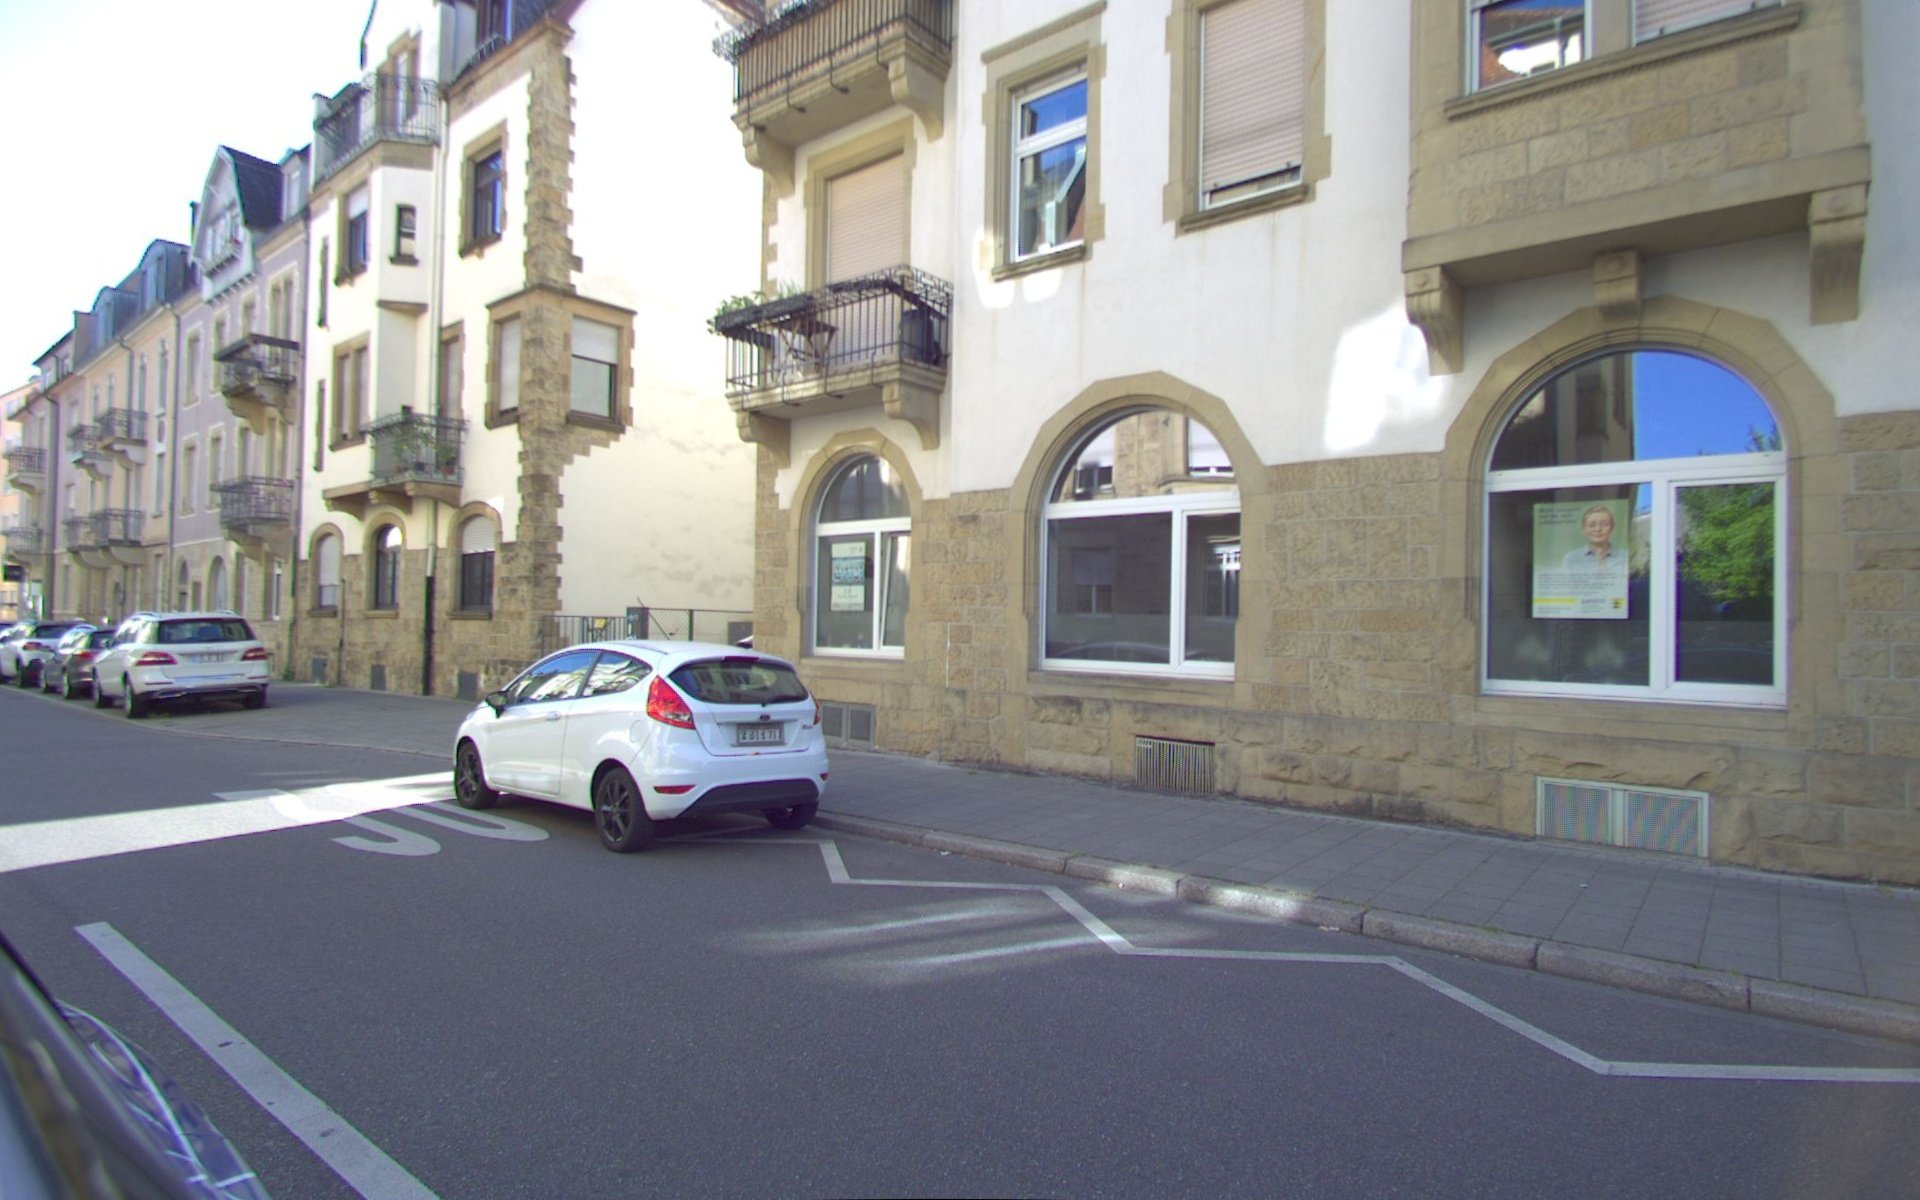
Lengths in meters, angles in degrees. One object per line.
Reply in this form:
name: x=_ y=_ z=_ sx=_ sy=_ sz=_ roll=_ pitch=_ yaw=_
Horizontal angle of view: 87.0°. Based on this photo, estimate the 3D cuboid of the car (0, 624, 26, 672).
car: x=-33.145 y=1.610 z=34.226 sx=4.319 sy=1.520 sz=1.866 roll=-1 pitch=0 yaw=41

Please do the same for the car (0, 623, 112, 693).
car: x=-22.953 y=1.386 z=25.438 sx=4.319 sy=1.520 sz=1.866 roll=-1 pitch=0 yaw=41

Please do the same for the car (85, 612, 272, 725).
car: x=-13.967 y=1.102 z=18.011 sx=4.209 sy=1.740 sz=1.866 roll=-1 pitch=0 yaw=41

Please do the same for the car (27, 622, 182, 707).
car: x=-18.450 y=1.293 z=21.756 sx=4.319 sy=1.519 sz=1.866 roll=-1 pitch=2 yaw=41

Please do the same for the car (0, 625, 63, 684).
car: x=-27.161 y=1.520 z=28.878 sx=4.317 sy=1.511 sz=1.833 roll=-1 pitch=0 yaw=41

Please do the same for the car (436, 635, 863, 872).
car: x=-2.628 y=1.047 z=8.169 sx=3.642 sy=1.469 sz=1.634 roll=-2 pitch=-5 yaw=42
